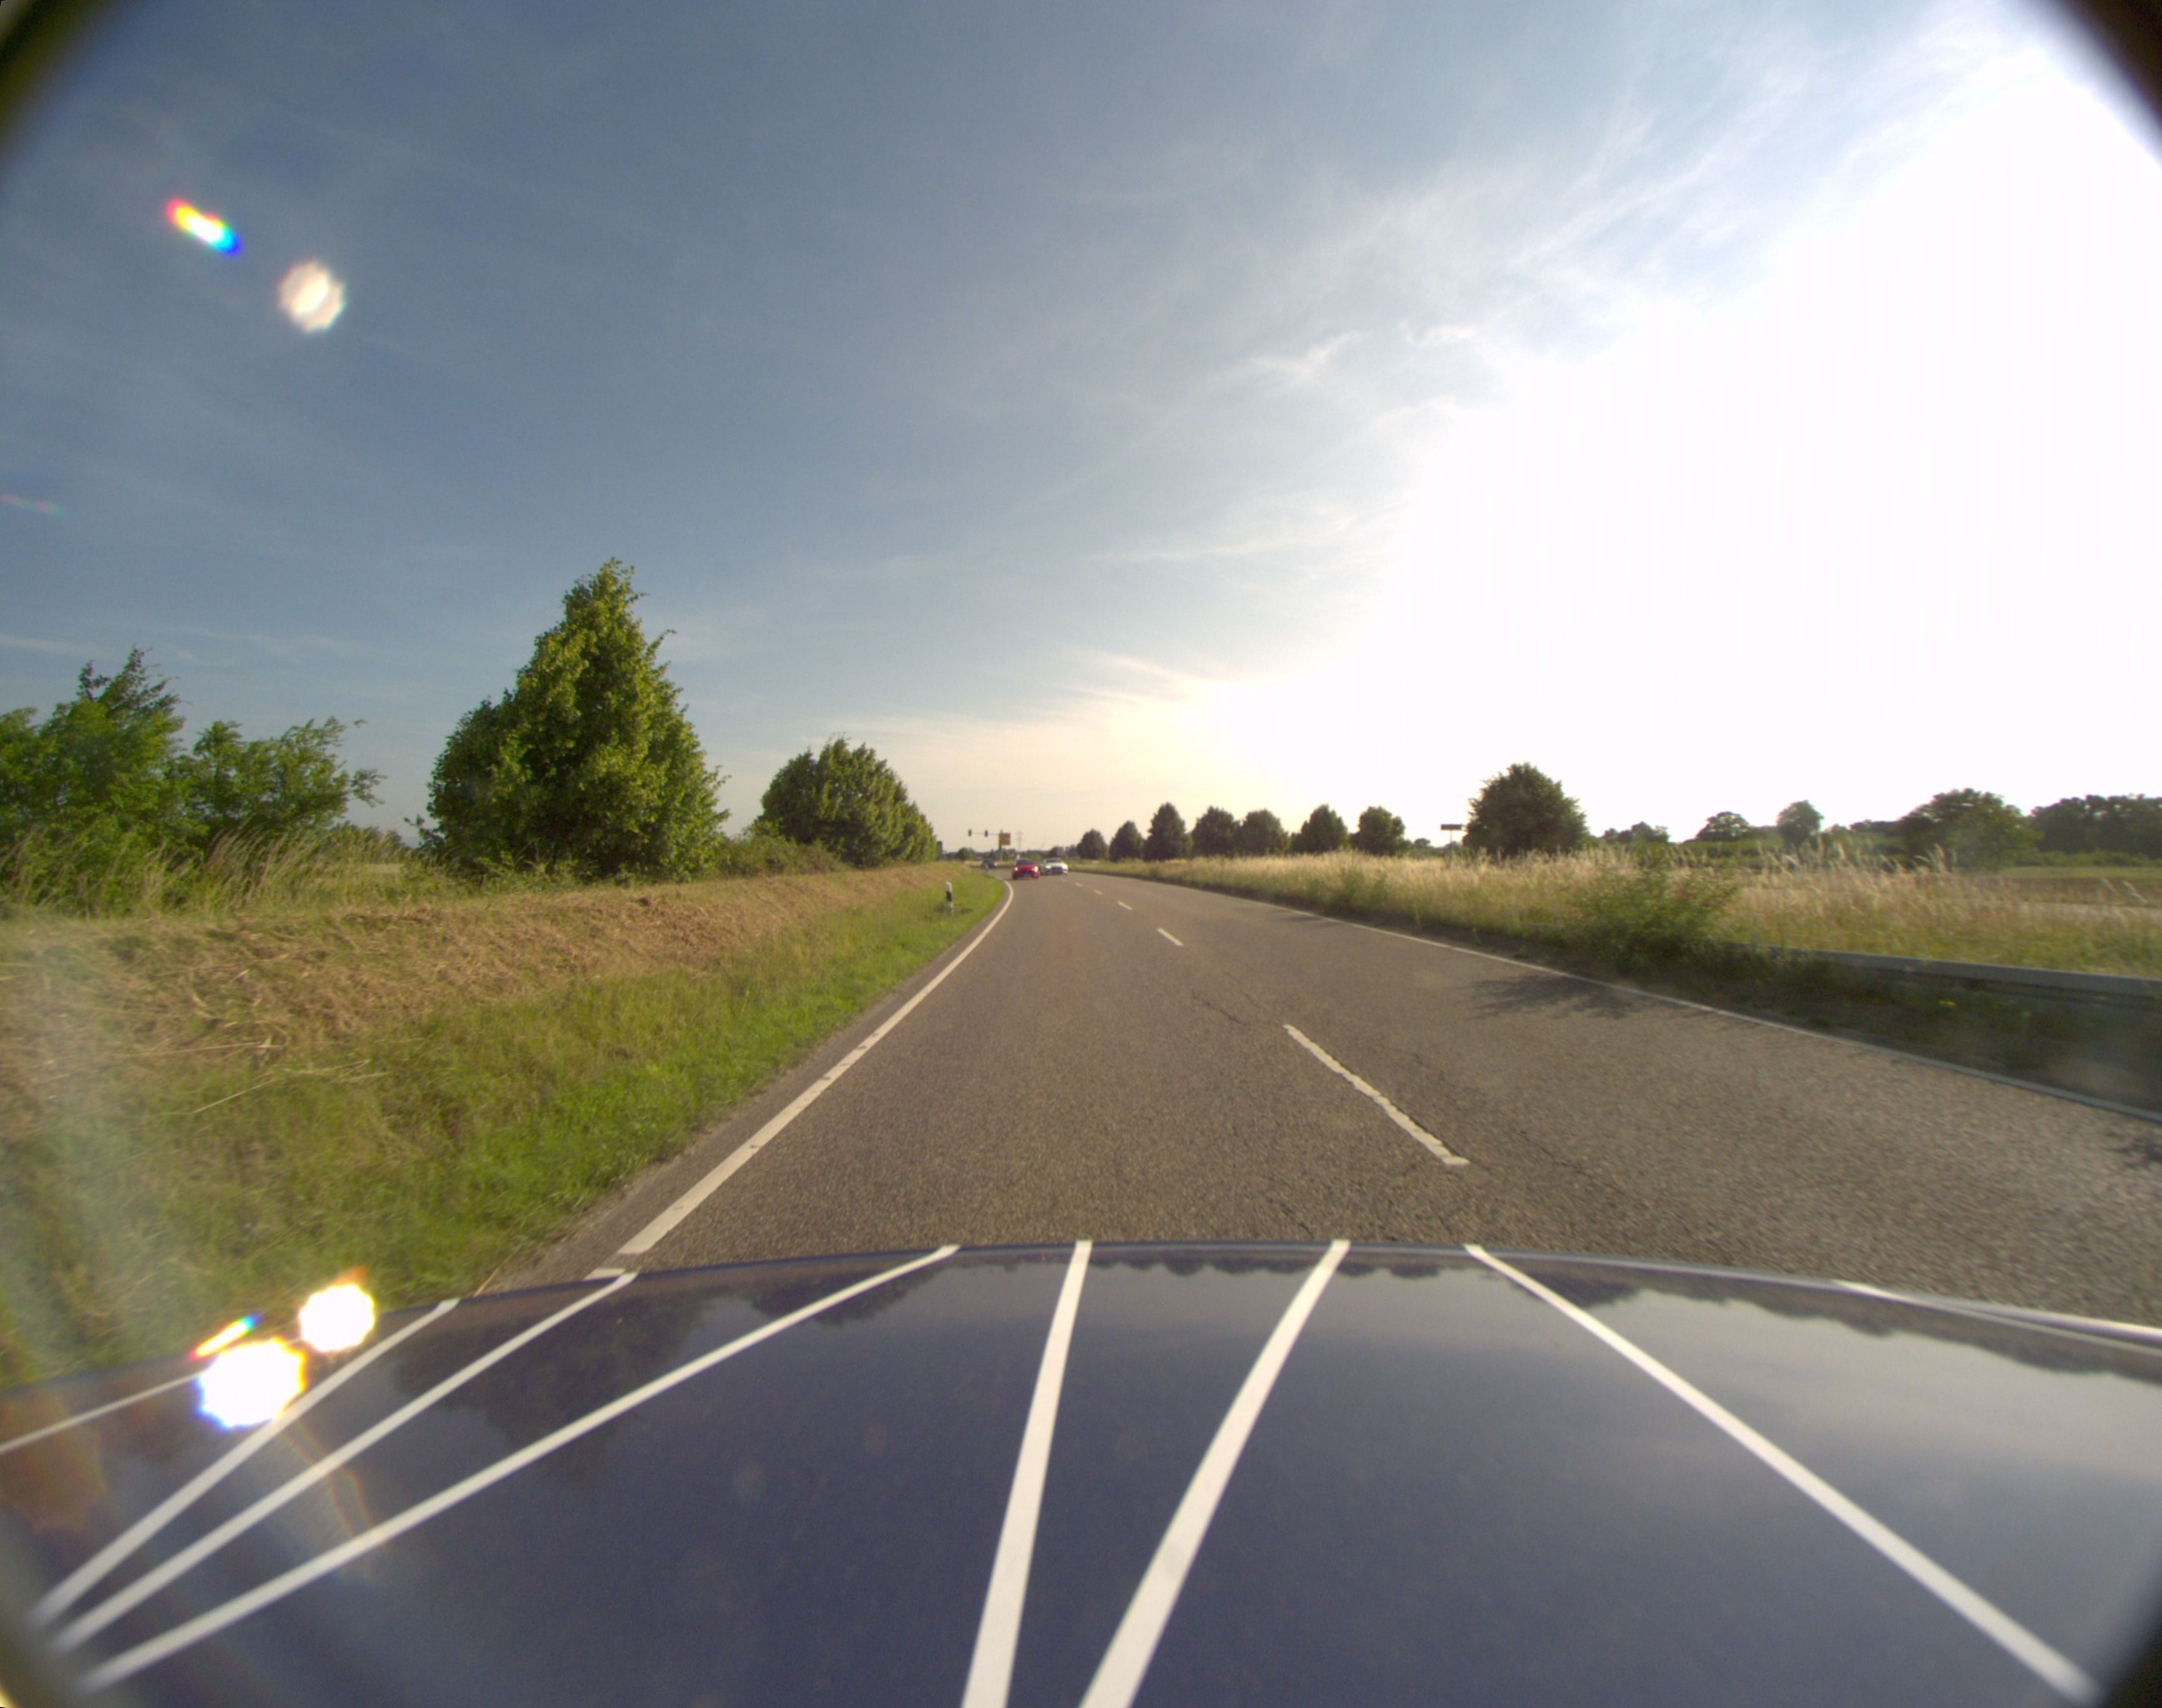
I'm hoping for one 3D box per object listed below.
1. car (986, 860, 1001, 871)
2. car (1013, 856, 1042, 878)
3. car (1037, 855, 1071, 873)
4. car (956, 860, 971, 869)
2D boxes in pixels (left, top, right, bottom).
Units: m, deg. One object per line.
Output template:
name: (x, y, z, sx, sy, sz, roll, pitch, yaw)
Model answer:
car: (-12.520, 1.619, 108.613, 1.753, 1.521, 3.995, -1, 0, -13)
car: (-3.929, 0.905, 55.411, 1.667, 1.455, 3.951, -2, 1, -11)
car: (-2.334, 0.794, 63.984, 1.878, 1.390, 4.198, -1, 0, -16)
car: (-20.644, 1.823, 133.043, 1.834, 1.521, 3.993, -1, 0, -20)
